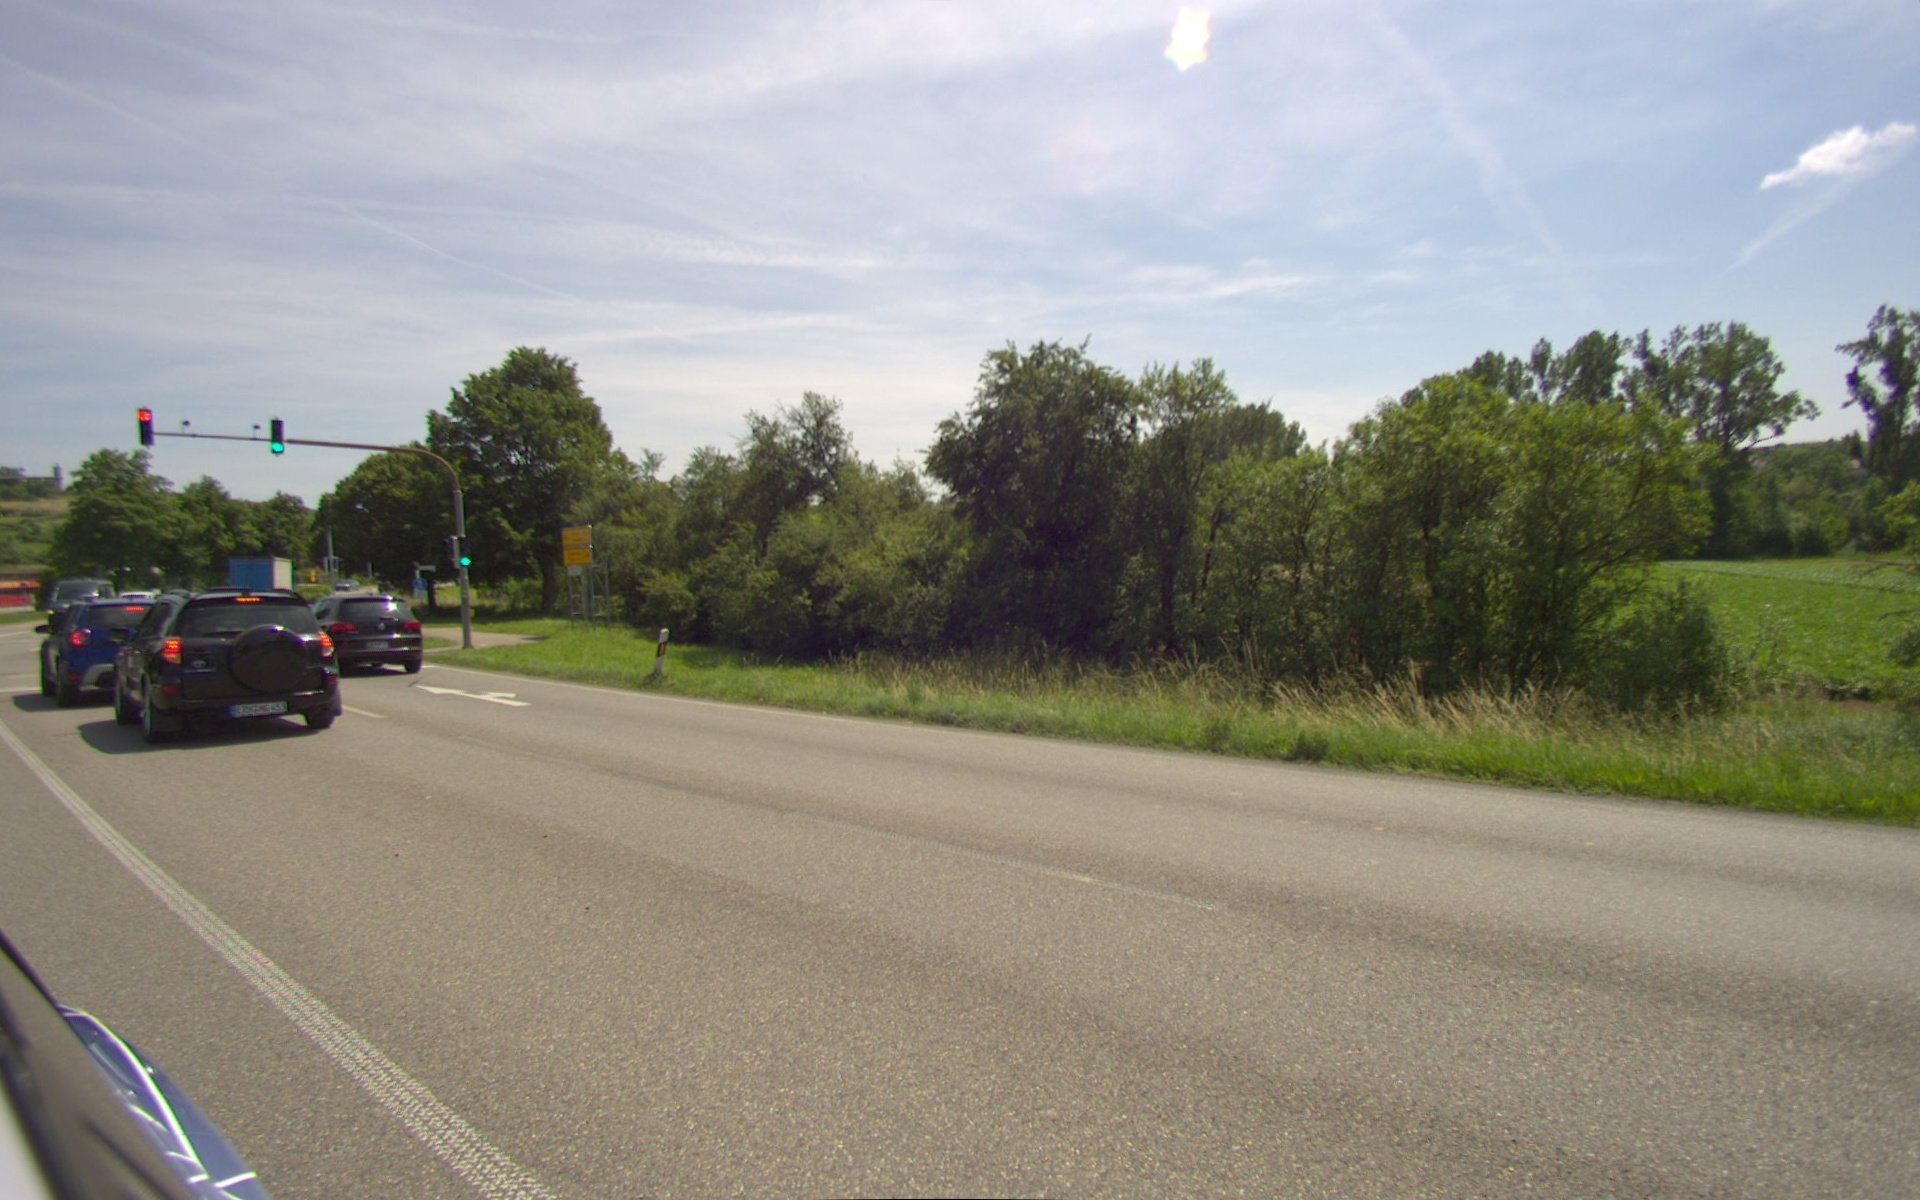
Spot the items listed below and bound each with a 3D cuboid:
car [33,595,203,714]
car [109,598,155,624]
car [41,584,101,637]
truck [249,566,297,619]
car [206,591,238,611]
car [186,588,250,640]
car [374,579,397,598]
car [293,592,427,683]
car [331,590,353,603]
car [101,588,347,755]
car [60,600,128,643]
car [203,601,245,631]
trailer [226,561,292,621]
[{"bbox_3d":[-13.756,0.768,16.456,4.002,1.671,1.751,0,1,45],"label":"car"},{"bbox_3d":[-54.080,0.690,66.176,1.754,1.504,4.170,-2,2,-32],"label":"car"},{"bbox_3d":[-46.671,0.492,53.204,1.950,2.537,4.167,-2,3,-37],"label":"car"},{"bbox_3d":[-54.947,-0.618,81.040,2.531,4.060,6.581,-1,0,-29],"label":"truck"},{"bbox_3d":[-69.426,0.107,95.216,1.779,1.745,4.013,-2,1,-27],"label":"car"},{"bbox_3d":[-31.222,0.544,42.521,1.968,2.021,5.175,-2,1,-38],"label":"car"},{"bbox_3d":[-74.639,-1.491,131.595,2.022,2.470,5.286,-1,0,-23],"label":"car"},{"bbox_3d":[-12.739,0.695,21.383,1.968,1.708,4.008,-1,1,-38],"label":"car"},{"bbox_3d":[-84.806,-0.485,138.919,1.779,1.745,4.013,-2,1,-20],"label":"car"},{"bbox_3d":[-9.021,0.713,12.276,4.001,1.671,1.751,0,1,44],"label":"car"},{"bbox_3d":[-40.818,0.958,47.771,1.780,1.745,4.012,-2,3,-32],"label":"car"},{"bbox_3d":[-39.053,0.795,53.694,1.748,1.507,4.009,0,0,-36],"label":"car"},{"bbox_3d":[-51.431,-0.625,74.581,2.531,4.060,13.637,-1,0,-29],"label":"trailer"}]
